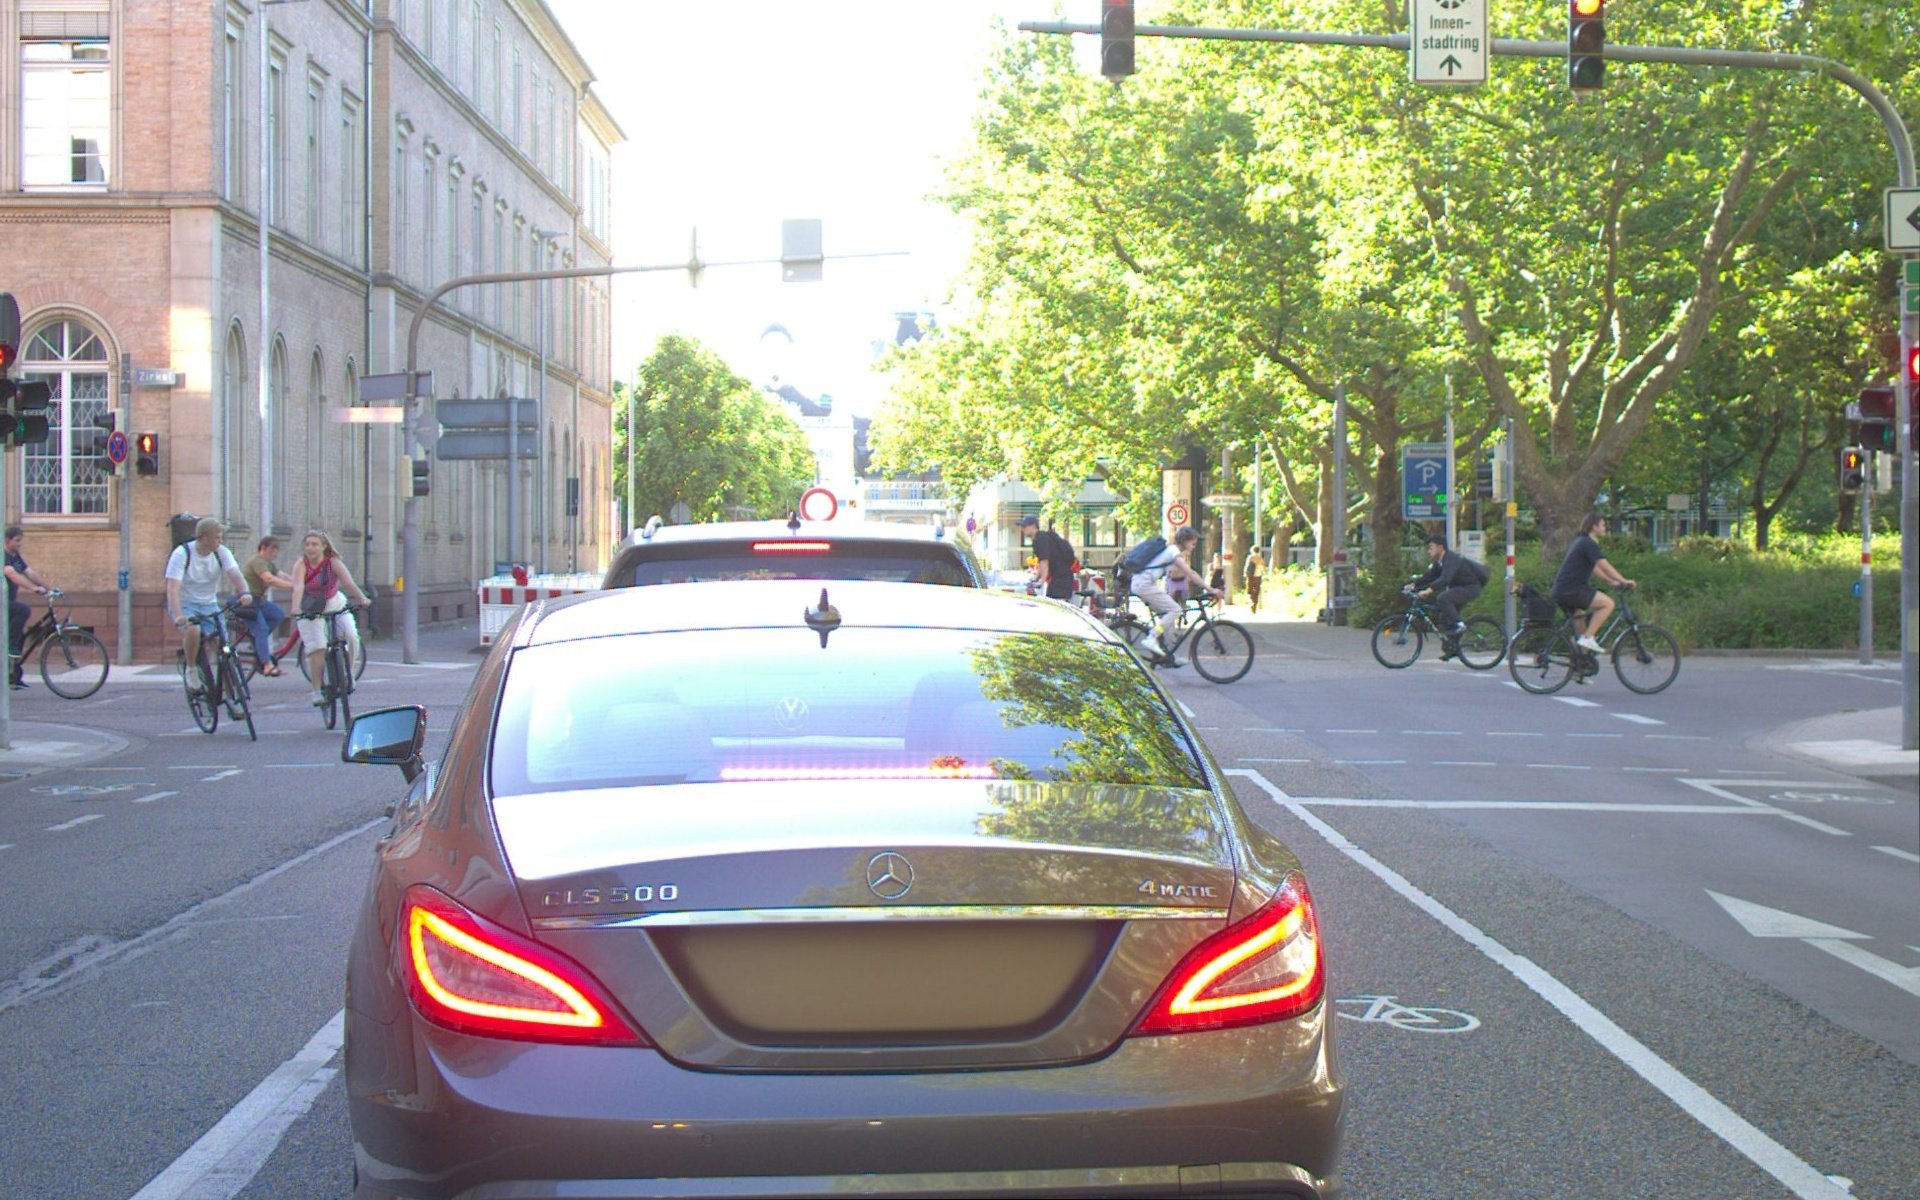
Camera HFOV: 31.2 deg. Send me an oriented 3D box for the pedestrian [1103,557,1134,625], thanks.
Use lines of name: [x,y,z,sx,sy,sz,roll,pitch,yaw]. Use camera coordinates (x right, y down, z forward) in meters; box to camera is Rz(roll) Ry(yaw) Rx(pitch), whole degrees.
pedestrian: [3.490,-0.204,75.859,0.648,1.498,0.637,0,1,-1]

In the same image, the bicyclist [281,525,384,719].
bicyclist: [-5.219,0.169,28.560,0.684,1.572,0.982,0,1,-20]

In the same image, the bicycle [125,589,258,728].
bicycle: [-6.367,0.464,28.425,0.862,1.075,1.837,0,1,-19]

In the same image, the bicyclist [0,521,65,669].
bicyclist: [-9.693,-0.059,34.745,1.116,1.485,0.712,0,1,-1]

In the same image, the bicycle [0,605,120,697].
bicycle: [-9.571,0.513,34.758,1.986,0.900,0.734,0,1,0]

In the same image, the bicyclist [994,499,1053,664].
bicyclist: [0.780,-0.228,42.196,0.652,2.007,0.440,0,1,-8]

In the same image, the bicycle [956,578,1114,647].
bicycle: [0.920,0.153,42.205,1.891,0.834,0.458,0,1,-8]

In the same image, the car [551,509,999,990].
car: [-0.724,0.483,13.734,1.517,1.641,3.881,1,1,-3]

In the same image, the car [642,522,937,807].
car: [-1.078,0.363,23.255,1.820,1.756,4.000,0,1,-1]

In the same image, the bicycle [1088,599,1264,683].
bicycle: [2.354,0.442,37.452,1.893,0.879,0.725,0,1,4]

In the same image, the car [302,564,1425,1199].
car: [-0.426,0.664,7.661,1.803,1.451,4.352,0,1,-8]

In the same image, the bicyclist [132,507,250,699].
bicyclist: [-6.336,0.013,28.317,0.842,1.549,0.839,0,1,-20]

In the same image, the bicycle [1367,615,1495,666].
bicycle: [6.008,0.509,43.900,1.587,0.632,0.496,0,1,3]

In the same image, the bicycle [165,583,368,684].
bicycle: [-7.226,0.346,35.845,1.980,1.024,0.651,0,1,2]

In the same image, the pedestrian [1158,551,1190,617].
pedestrian: [4.686,-0.355,75.446,0.648,1.428,0.659,0,1,-1]

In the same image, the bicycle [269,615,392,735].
bicycle: [-5.272,0.609,28.717,0.693,0.926,1.864,0,1,-21]

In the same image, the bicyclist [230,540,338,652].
bicyclist: [-7.043,-0.048,35.828,0.991,1.150,0.620,0,1,2]

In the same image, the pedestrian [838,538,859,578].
pedestrian: [-4.326,-1.631,133.793,0.801,1.571,0.845,0,1,-1]

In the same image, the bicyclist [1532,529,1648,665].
bicyclist: [6.555,-0.040,35.824,1.103,1.398,0.657,0,1,3]

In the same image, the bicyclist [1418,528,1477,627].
bicyclist: [6.234,-0.290,43.972,0.704,1.256,0.457,0,1,4]

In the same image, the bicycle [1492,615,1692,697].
bicycle: [6.576,0.578,35.835,1.974,0.834,0.676,0,1,2]

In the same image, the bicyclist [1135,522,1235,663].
bicyclist: [2.453,-0.087,37.441,1.075,1.514,0.716,0,1,5]
